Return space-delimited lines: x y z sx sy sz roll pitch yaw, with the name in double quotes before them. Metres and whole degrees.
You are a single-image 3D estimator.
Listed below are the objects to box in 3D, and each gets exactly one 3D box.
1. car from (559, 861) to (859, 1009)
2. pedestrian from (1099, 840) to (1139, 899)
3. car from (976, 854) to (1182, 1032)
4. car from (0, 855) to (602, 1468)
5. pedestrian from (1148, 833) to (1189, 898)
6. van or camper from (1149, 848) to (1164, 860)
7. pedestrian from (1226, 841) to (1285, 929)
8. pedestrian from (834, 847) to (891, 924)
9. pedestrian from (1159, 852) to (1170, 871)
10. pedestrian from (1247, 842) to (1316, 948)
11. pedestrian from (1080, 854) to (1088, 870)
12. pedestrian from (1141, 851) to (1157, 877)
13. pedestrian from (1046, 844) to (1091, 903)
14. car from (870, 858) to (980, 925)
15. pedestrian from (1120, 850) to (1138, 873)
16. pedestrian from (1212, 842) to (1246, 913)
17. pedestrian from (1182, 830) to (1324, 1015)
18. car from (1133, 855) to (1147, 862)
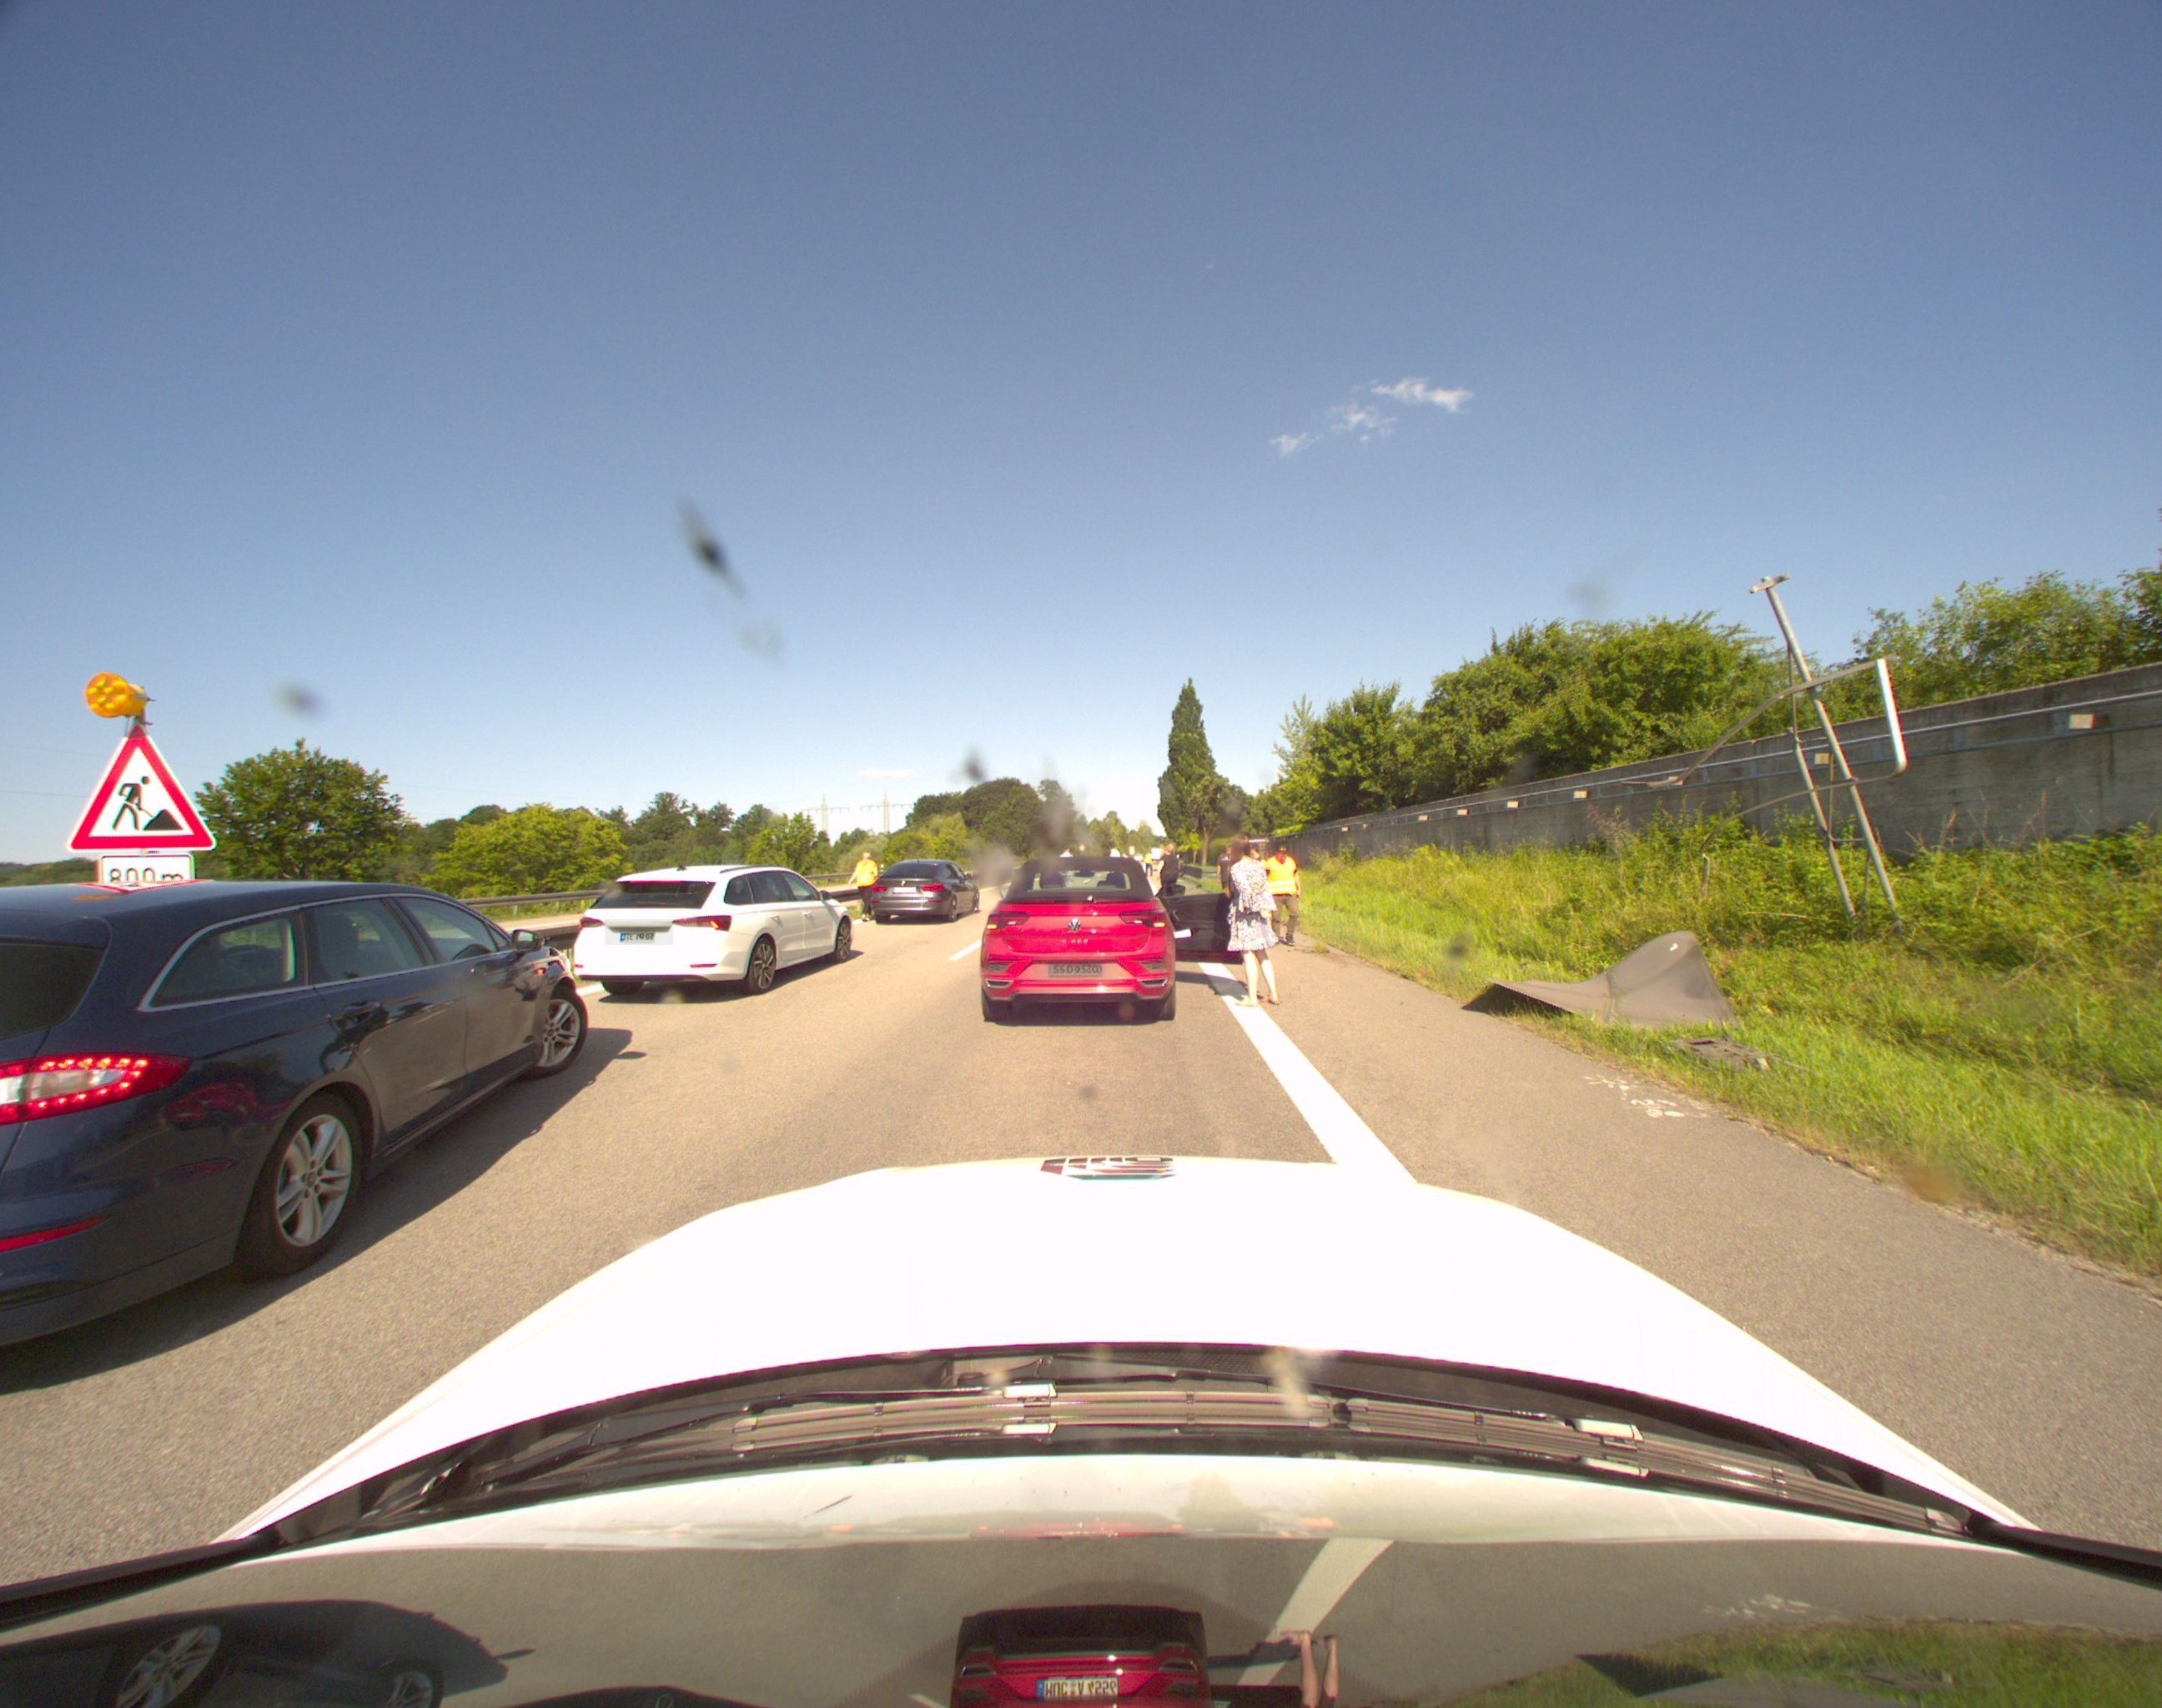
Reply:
"car" -4.340 0.840 10.334 1.688 1.441 4.213 -1 0 3
"pedestrian" 1.270 0.517 27.504 1.104 1.912 1.255 -2 0 -5
"car" 0.080 0.748 8.959 1.725 1.487 4.213 -1 0 3
"car" -3.983 0.805 3.926 1.792 1.493 4.468 -2 0 -16
"pedestrian" 2.641 0.335 24.720 1.086 1.883 1.069 -2 0 1
"van or camper" 14.879 0.001 160.761 1.977 2.316 4.491 -1 -1 18
"pedestrian" 3.530 0.618 16.515 0.897 1.725 0.750 0 -1 -17
"pedestrian" -5.223 0.733 19.551 1.038 1.763 1.118 -2 0 -2
"pedestrian" 7.678 0.698 75.006 0.991 1.689 1.012 0 -1 6
"pedestrian" 3.319 0.650 13.574 0.952 1.653 1.281 -2 0 9
"pedestrian" 0.361 0.870 89.459 0.787 1.689 0.794 0 -1 7
"pedestrian" 4.620 0.678 55.305 1.049 1.689 1.020 0 -1 9
"pedestrian" -0.368 0.591 25.038 1.095 1.789 1.096 -1 -1 16
"car" -3.711 0.842 20.119 1.688 1.426 4.337 -1 0 3
"pedestrian" 3.509 0.531 59.879 1.113 1.689 0.970 0 -1 -8
"pedestrian" 3.759 0.580 20.607 0.806 1.759 0.831 0 -1 12
"pedestrian" 1.697 0.636 8.207 0.893 1.695 1.121 -2 0 -20
"car" 11.787 0.887 161.977 1.718 1.487 4.231 -1 0 19
